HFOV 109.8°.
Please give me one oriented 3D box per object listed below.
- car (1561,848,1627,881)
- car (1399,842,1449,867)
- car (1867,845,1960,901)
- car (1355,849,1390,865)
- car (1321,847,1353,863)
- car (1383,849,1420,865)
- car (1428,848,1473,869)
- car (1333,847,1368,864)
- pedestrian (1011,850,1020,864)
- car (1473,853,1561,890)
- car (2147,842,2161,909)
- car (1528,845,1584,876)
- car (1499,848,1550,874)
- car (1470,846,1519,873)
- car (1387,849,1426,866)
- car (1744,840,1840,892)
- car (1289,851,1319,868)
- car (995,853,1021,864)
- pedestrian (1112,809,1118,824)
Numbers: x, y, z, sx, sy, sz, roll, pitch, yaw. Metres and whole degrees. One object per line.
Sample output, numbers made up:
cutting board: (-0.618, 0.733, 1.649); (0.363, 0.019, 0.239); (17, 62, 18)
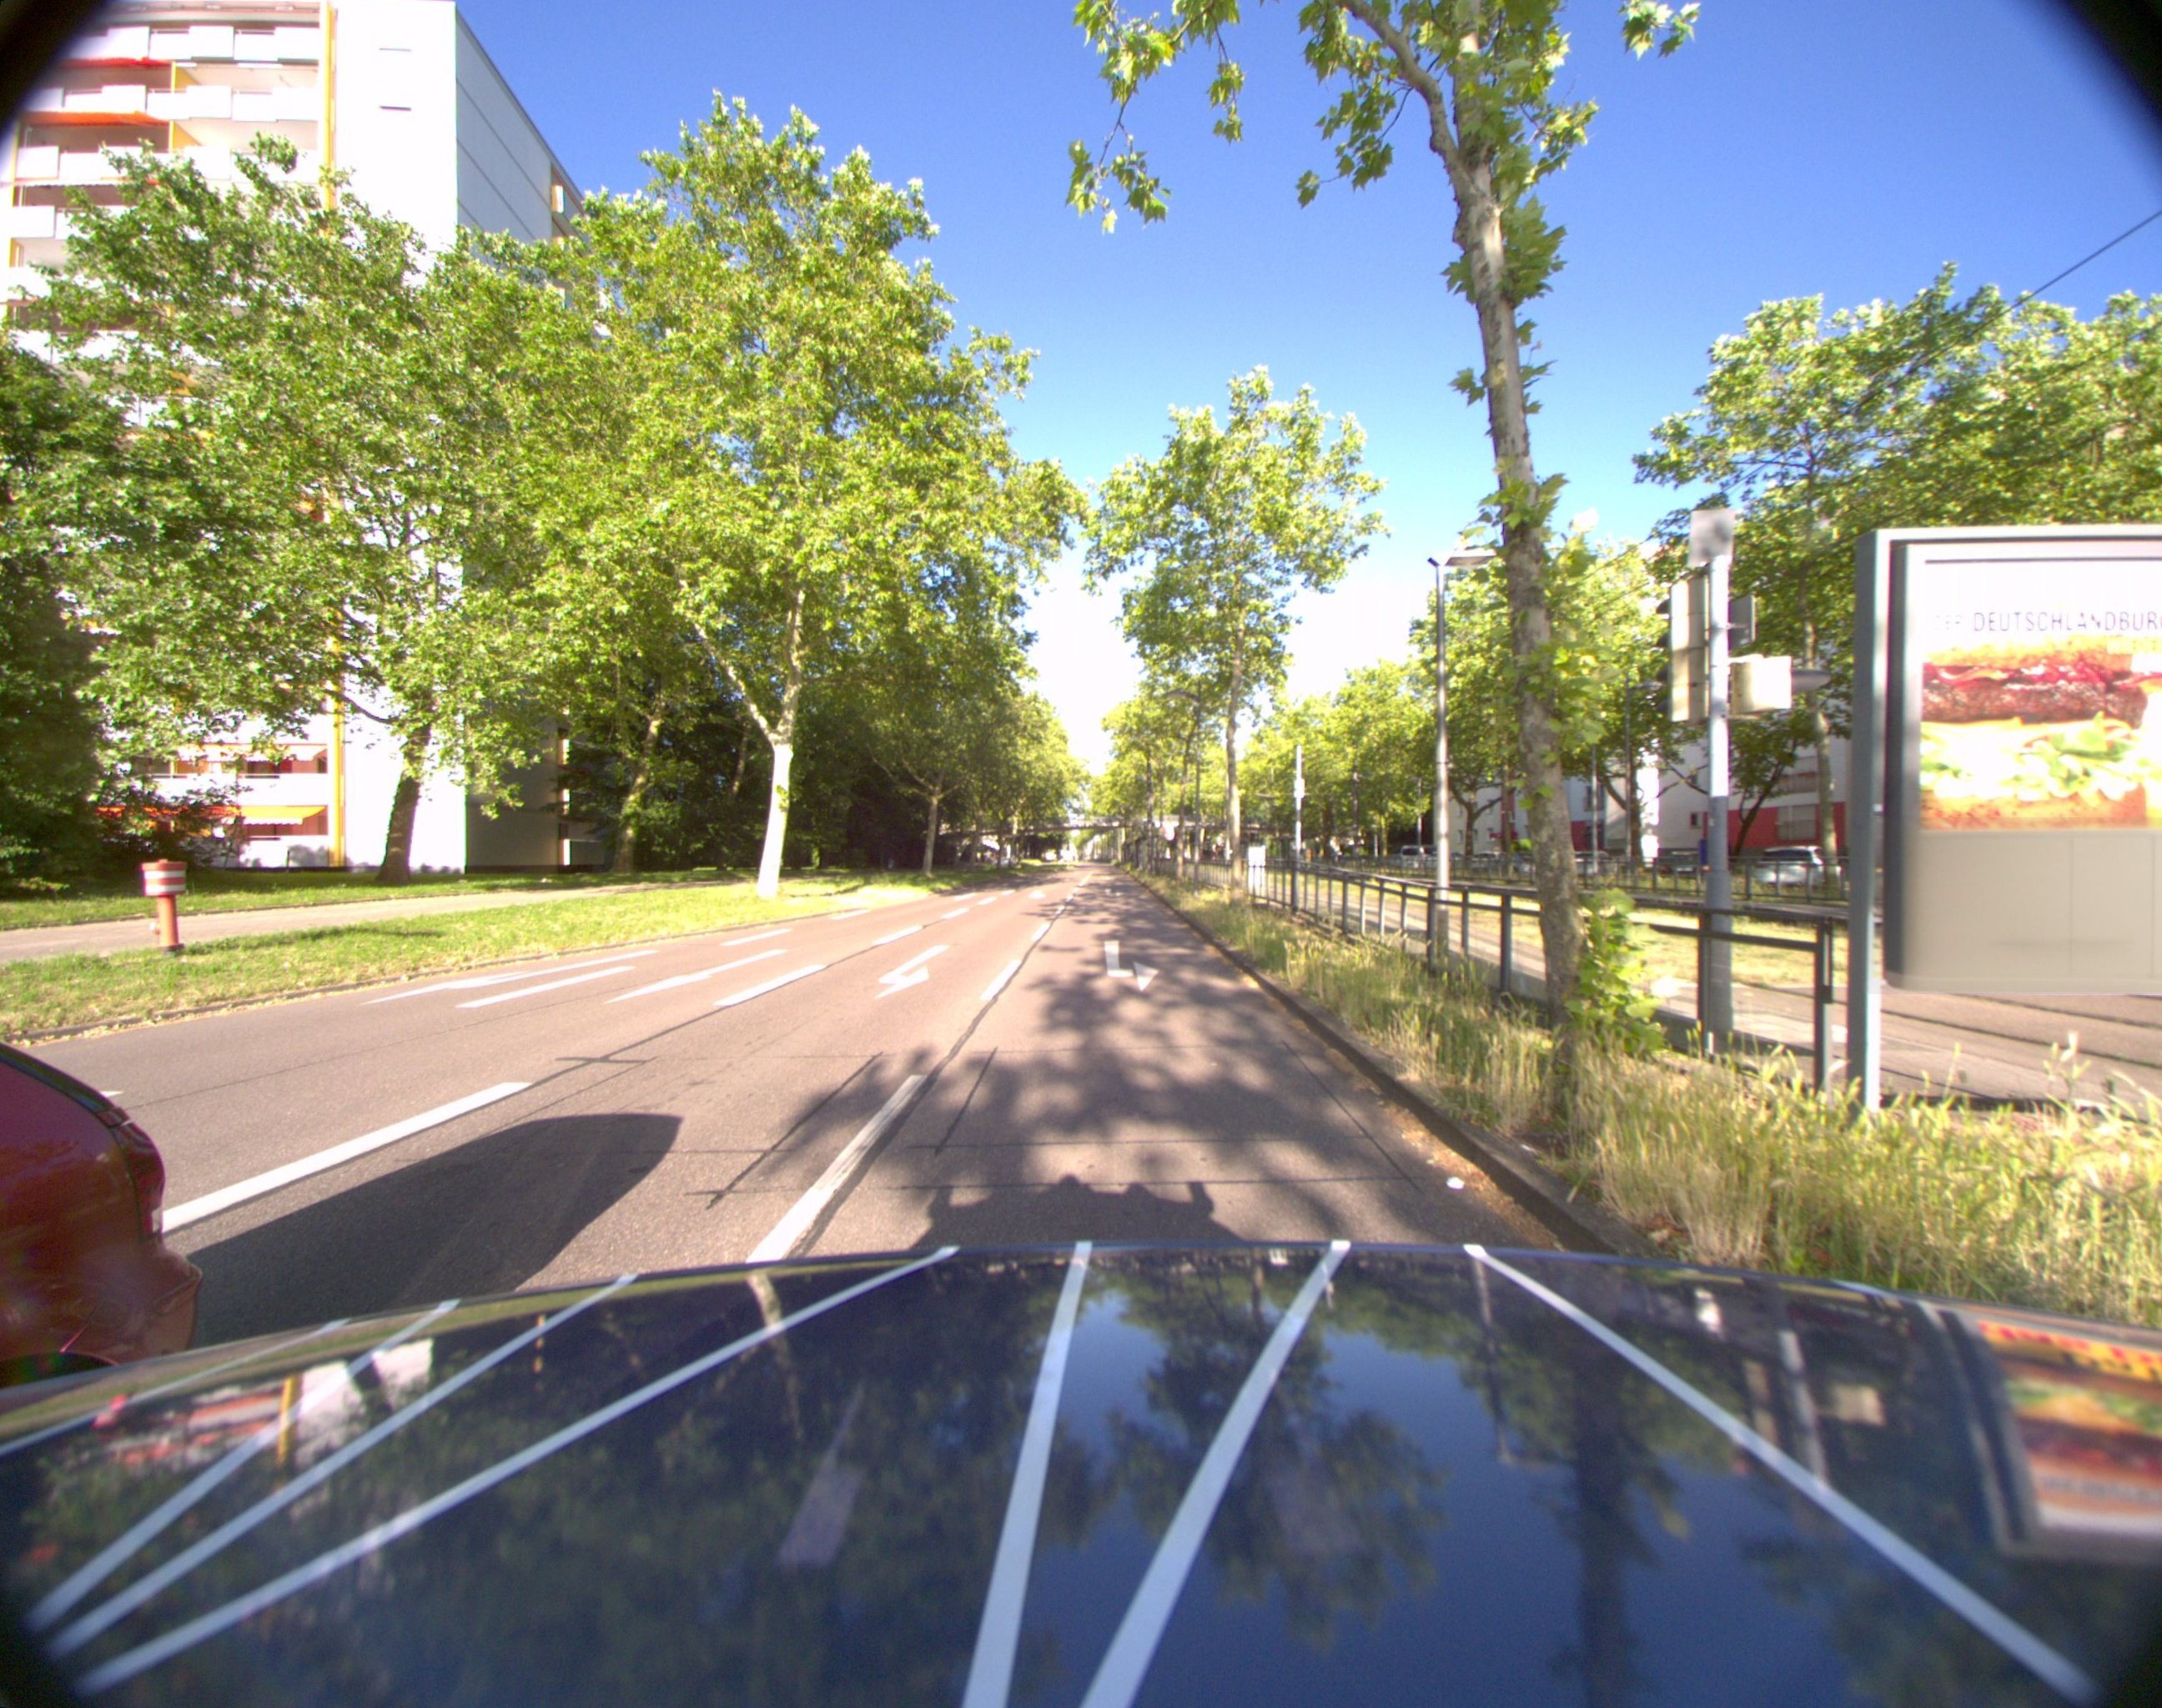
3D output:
car: (25.523, 0.512, 37.764); (3.890, 1.406, 1.486); (-3, 1, -37)
car: (25.727, 0.030, 56.929); (4.056, 1.802, 1.864); (-1, 1, -40)
car: (25.242, 0.535, 22.997); (3.770, 1.420, 1.555); (-3, 1, -37)
car: (26.730, 0.267, 69.692); (3.494, 1.312, 1.476); (-1, 1, -41)
car: (26.787, 0.110, 79.361); (3.742, 1.517, 1.597); (-1, 1, -43)
car: (27.014, 0.272, 64.062); (3.494, 1.293, 1.476); (-1, 1, -41)
car: (26.215, 0.298, 53.940); (3.494, 1.395, 1.623); (-1, 1, -41)
car: (26.069, 0.119, 73.396); (3.835, 1.561, 1.597); (-1, 1, -43)
pedestrian: (-9.400, 0.465, 109.020); (0.917, 2.002, 0.964); (-2, 2, 42)
car: (19.863, 0.758, 34.828); (1.810, 1.514, 4.331); (-1, 0, 4)
car: (24.675, 0.524, 16.204); (4.007, 1.479, 1.689); (-3, 1, -44)
car: (26.090, 0.333, 41.717); (3.402, 1.499, 1.461); (-3, 1, -37)
car: (26.080, 0.396, 44.629); (3.493, 1.321, 1.476); (-3, 0, -41)
car: (25.867, 0.339, 47.497); (3.493, 1.417, 1.558); (-3, -1, -42)
car: (25.885, 0.275, 60.356); (3.494, 1.336, 1.476); (-1, 1, -41)
car: (25.227, 0.397, 26.925); (4.007, 1.586, 1.810); (-3, 1, -37)
car: (21.298, 0.515, 72.731); (1.769, 1.503, 4.102); (-1, 0, 1)
car: (-11.691, 0.718, 121.620); (3.999, 1.465, 1.797); (-3, 1, -8)
pedestrian: (4.569, -5.020, 101.603); (0.738, 1.873, 0.511); (-3, 1, 0)
